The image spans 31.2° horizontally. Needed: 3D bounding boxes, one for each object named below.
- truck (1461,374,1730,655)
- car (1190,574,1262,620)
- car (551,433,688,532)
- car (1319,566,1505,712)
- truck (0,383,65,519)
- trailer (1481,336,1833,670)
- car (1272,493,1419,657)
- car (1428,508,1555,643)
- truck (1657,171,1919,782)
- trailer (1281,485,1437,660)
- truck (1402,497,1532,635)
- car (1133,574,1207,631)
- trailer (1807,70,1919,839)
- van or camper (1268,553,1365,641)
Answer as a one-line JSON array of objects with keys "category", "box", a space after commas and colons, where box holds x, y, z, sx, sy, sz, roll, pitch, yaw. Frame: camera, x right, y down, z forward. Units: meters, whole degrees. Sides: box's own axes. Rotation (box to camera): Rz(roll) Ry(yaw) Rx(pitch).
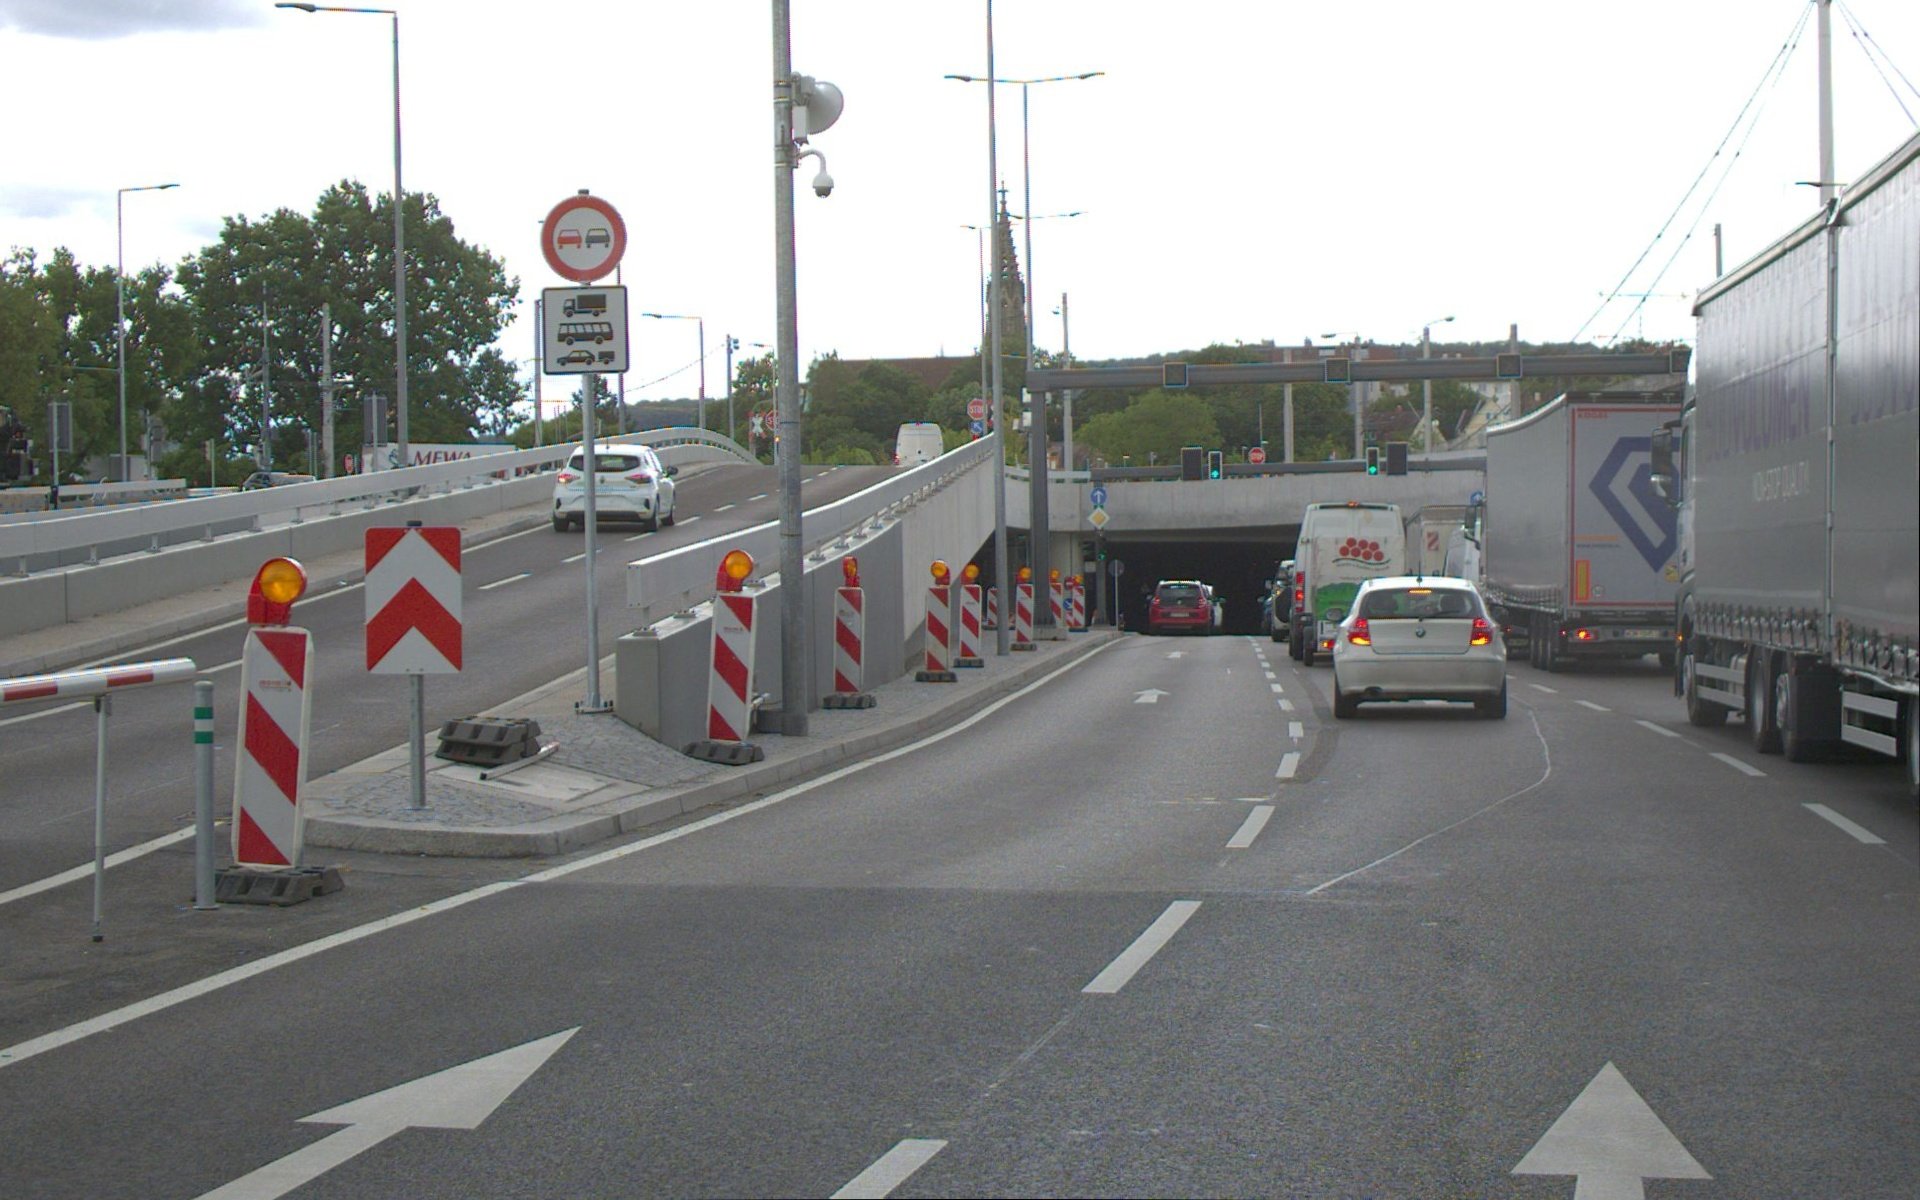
[{"category": "truck", "box": [11.118, -1.456, 60.984, 3.805, 4.615, 7.441, 1, 0, 4]}, {"category": "car", "box": [8.458, -0.115, 109.591, 1.993, 1.382, 4.000, 1, 0, 0]}, {"category": "car", "box": [-5.681, -1.950, 57.747, 1.744, 1.428, 3.775, 3, 0, 2]}, {"category": "car", "box": [4.659, 0.377, 35.906, 1.716, 1.393, 4.346, 1, 0, 5]}, {"category": "truck", "box": [-25.213, -3.610, 85.801, 2.732, 3.378, 10.621, -5, 3, 0]}, {"category": "trailer", "box": [10.631, -1.404, 53.996, 3.805, 4.615, 12.112, 1, 0, 4]}, {"category": "car", "box": [6.683, -0.410, 60.123, 2.058, 2.619, 5.942, 3, 0, 3]}, {"category": "car", "box": [11.480, -0.536, 74.707, 2.075, 2.764, 7.325, 1, 0, 4]}, {"category": "truck", "box": [8.245, -0.850, 28.568, 3.725, 4.127, 10.981, 1, 0, 6]}, {"category": "trailer", "box": [6.477, -0.424, 56.282, 2.103, 2.630, 4.809, 3, 0, 3]}, {"category": "truck", "box": [12.325, -0.777, 84.075, 2.650, 3.174, 7.424, -1, 0, 5]}, {"category": "car", "box": [5.782, 0.092, 94.948, 1.660, 1.483, 3.567, 0, -1, -2]}, {"category": "trailer", "box": [6.926, -0.772, 17.710, 3.725, 4.127, 10.980, 1, 0, 7]}, {"category": "van or camper", "box": [8.203, -0.036, 79.479, 1.994, 1.839, 5.507, 1, -2, 4]}]
